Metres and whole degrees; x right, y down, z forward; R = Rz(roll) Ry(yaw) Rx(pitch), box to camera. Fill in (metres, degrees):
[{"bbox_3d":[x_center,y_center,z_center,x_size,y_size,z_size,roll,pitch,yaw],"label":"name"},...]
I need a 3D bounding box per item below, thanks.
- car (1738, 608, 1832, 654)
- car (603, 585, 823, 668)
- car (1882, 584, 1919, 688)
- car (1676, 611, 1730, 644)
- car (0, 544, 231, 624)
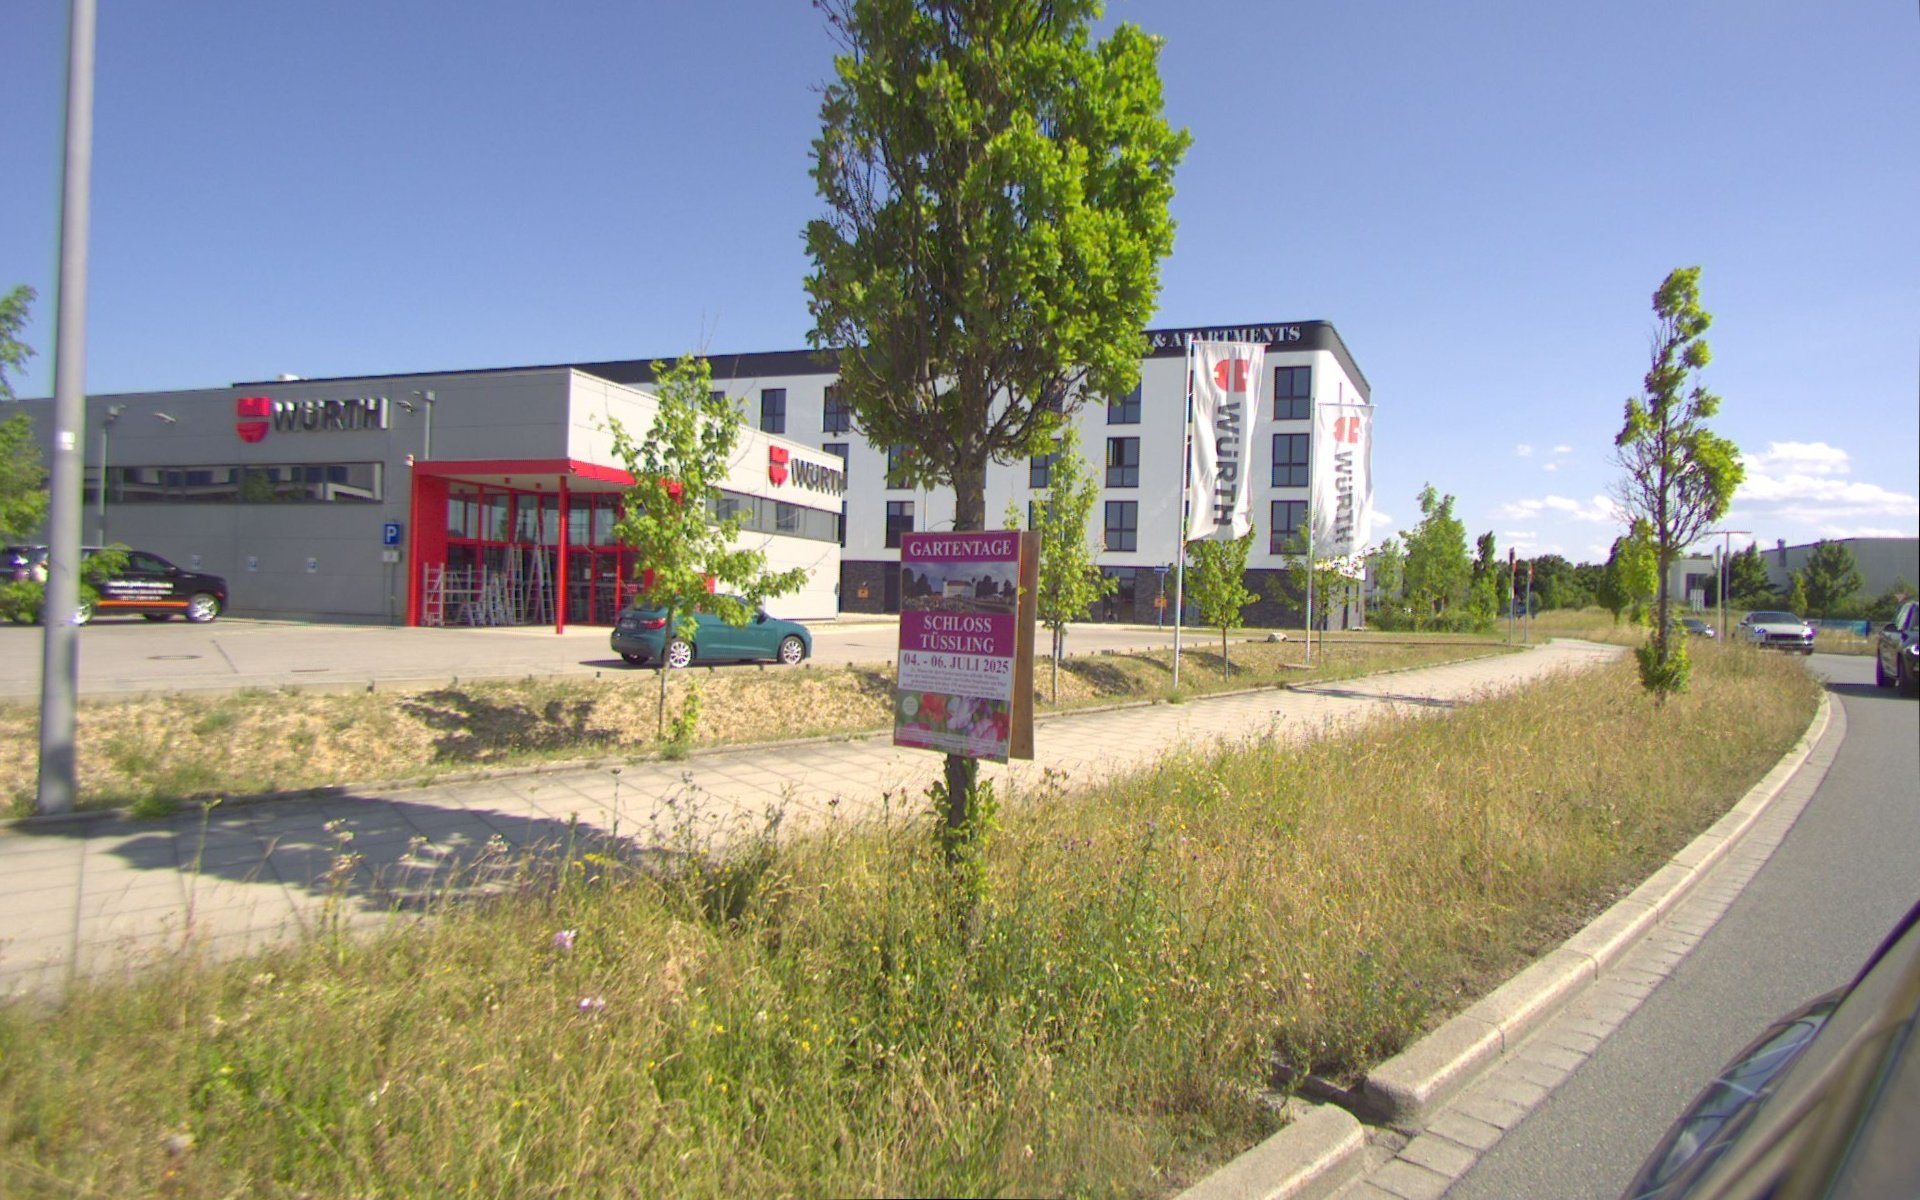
[{"bbox_3d":[32.639,1.246,40.168,2.098,1.664,4.726,1,-1,30],"label":"car"},{"bbox_3d":[-4.660,0.475,19.502,1.513,1.425,3.937,2,1,43],"label":"car"},{"bbox_3d":[17.792,0.675,17.787,1.891,1.701,4.406,1,-2,37],"label":"car"},{"bbox_3d":[42.320,1.539,57.735,1.741,1.709,4.340,2,0,27],"label":"car"},{"bbox_3d":[-21.990,-0.404,26.087,2.023,1.838,4.891,2,0,20],"label":"car"}]
